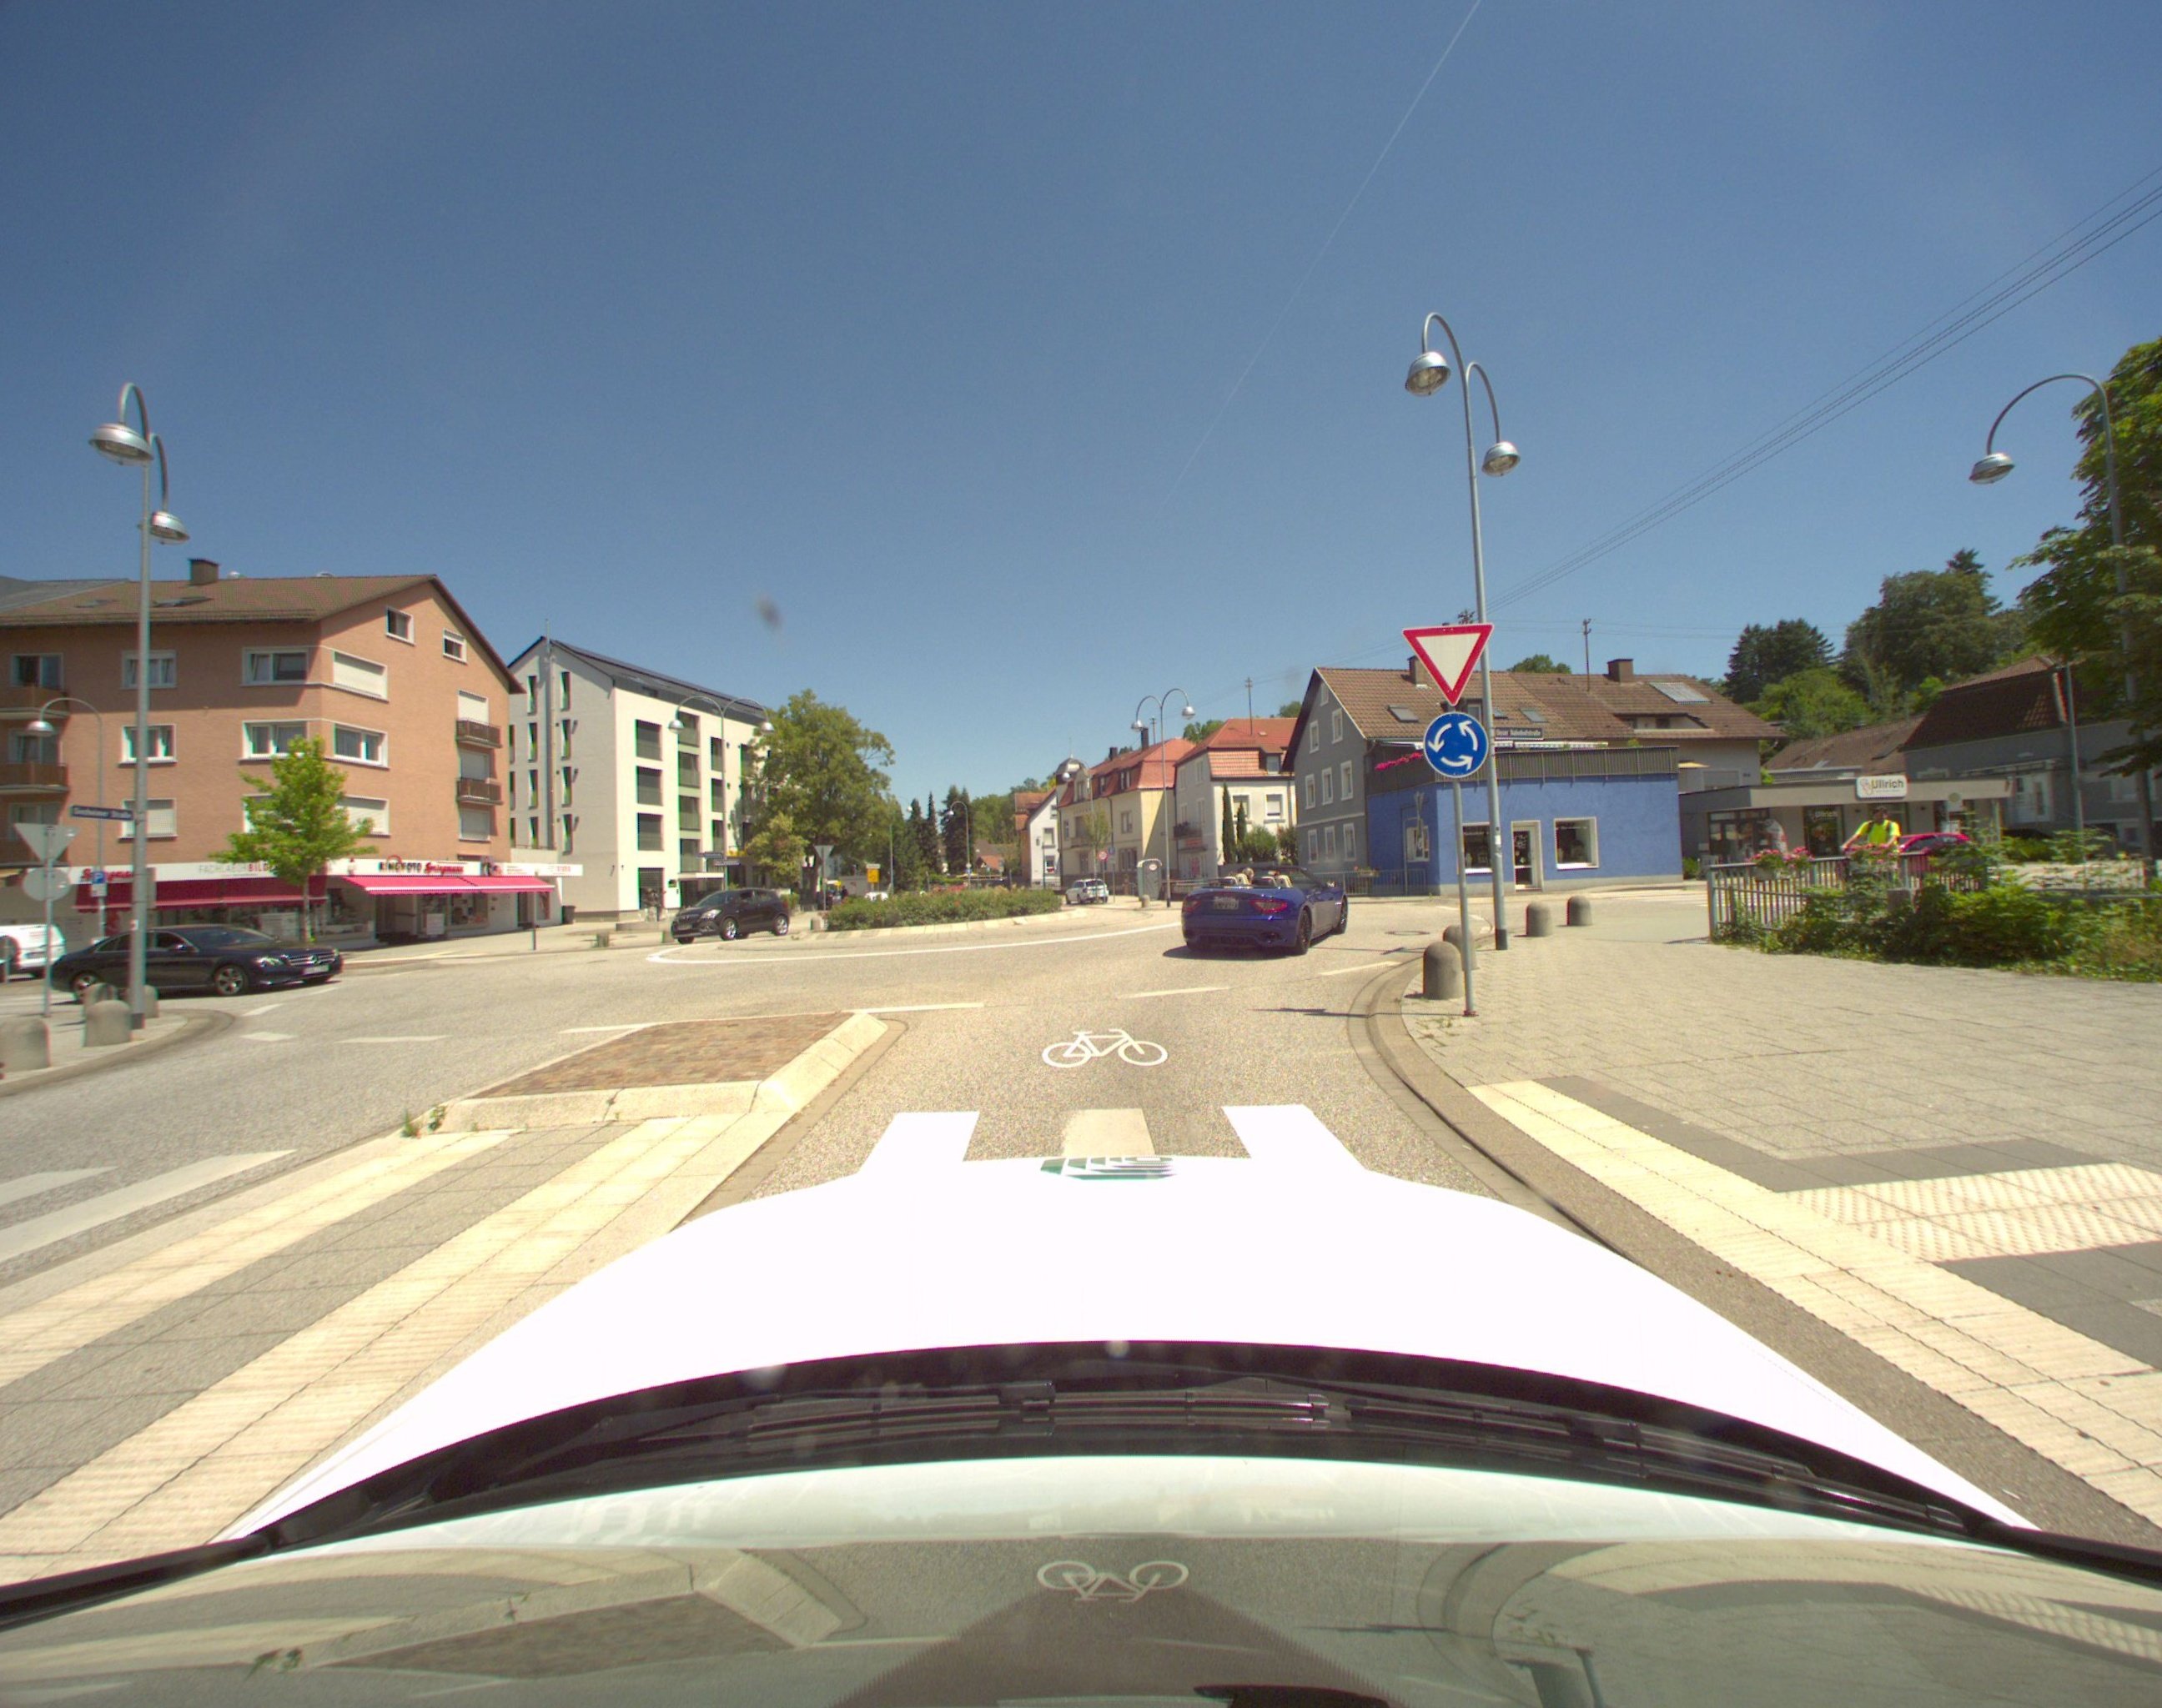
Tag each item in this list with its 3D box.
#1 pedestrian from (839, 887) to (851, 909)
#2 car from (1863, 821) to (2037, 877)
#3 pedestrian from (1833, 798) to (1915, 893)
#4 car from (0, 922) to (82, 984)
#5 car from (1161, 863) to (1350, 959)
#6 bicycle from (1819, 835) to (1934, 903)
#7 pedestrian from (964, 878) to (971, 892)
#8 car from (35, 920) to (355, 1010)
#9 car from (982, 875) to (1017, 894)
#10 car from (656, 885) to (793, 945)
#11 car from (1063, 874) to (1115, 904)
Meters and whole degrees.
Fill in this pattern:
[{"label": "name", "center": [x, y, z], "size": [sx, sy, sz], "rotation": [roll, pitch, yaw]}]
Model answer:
[{"label": "pedestrian", "center": [-17.684, 3.276, 61.033], "size": [0.531, 1.576, 0.564], "rotation": [-3, -2, 13]}, {"label": "car", "center": [27.989, -0.133, 26.313], "size": [3.655, 1.552, 1.776], "rotation": [-3, -2, -1]}, {"label": "pedestrian", "center": [14.124, -0.145, 14.522], "size": [0.719, 1.632, 0.741], "rotation": [-2, -2, -22]}, {"label": "car", "center": [-34.248, 3.139, 25.122], "size": [3.993, 1.750, 1.793], "rotation": [-3, -2, -14]}, {"label": "car", "center": [3.113, 0.853, 13.796], "size": [1.892, 1.361, 4.311], "rotation": [-2, -2, 29]}, {"label": "bicycle", "center": [14.148, 0.261, 14.483], "size": [1.851, 1.083, 0.741], "rotation": [-2, -2, -22]}, {"label": "pedestrian", "center": [-12.849, 3.523, 91.993], "size": [0.614, 1.585, 0.582], "rotation": [-2, -2, -24]}, {"label": "car", "center": [-18.368, 2.266, 17.075], "size": [4.485, 1.403, 1.777], "rotation": [-3, -1, -4]}, {"label": "car", "center": [-7.710, 2.912, 76.917], "size": [1.861, 1.588, 3.963], "rotation": [-3, -2, -28]}, {"label": "car", "center": [-11.197, 1.882, 25.912], "size": [1.784, 1.642, 4.075], "rotation": [-3, -2, 15]}, {"label": "car", "center": [0.454, 2.160, 49.456], "size": [1.923, 1.613, 4.122], "rotation": [-2, -3, -17]}]
